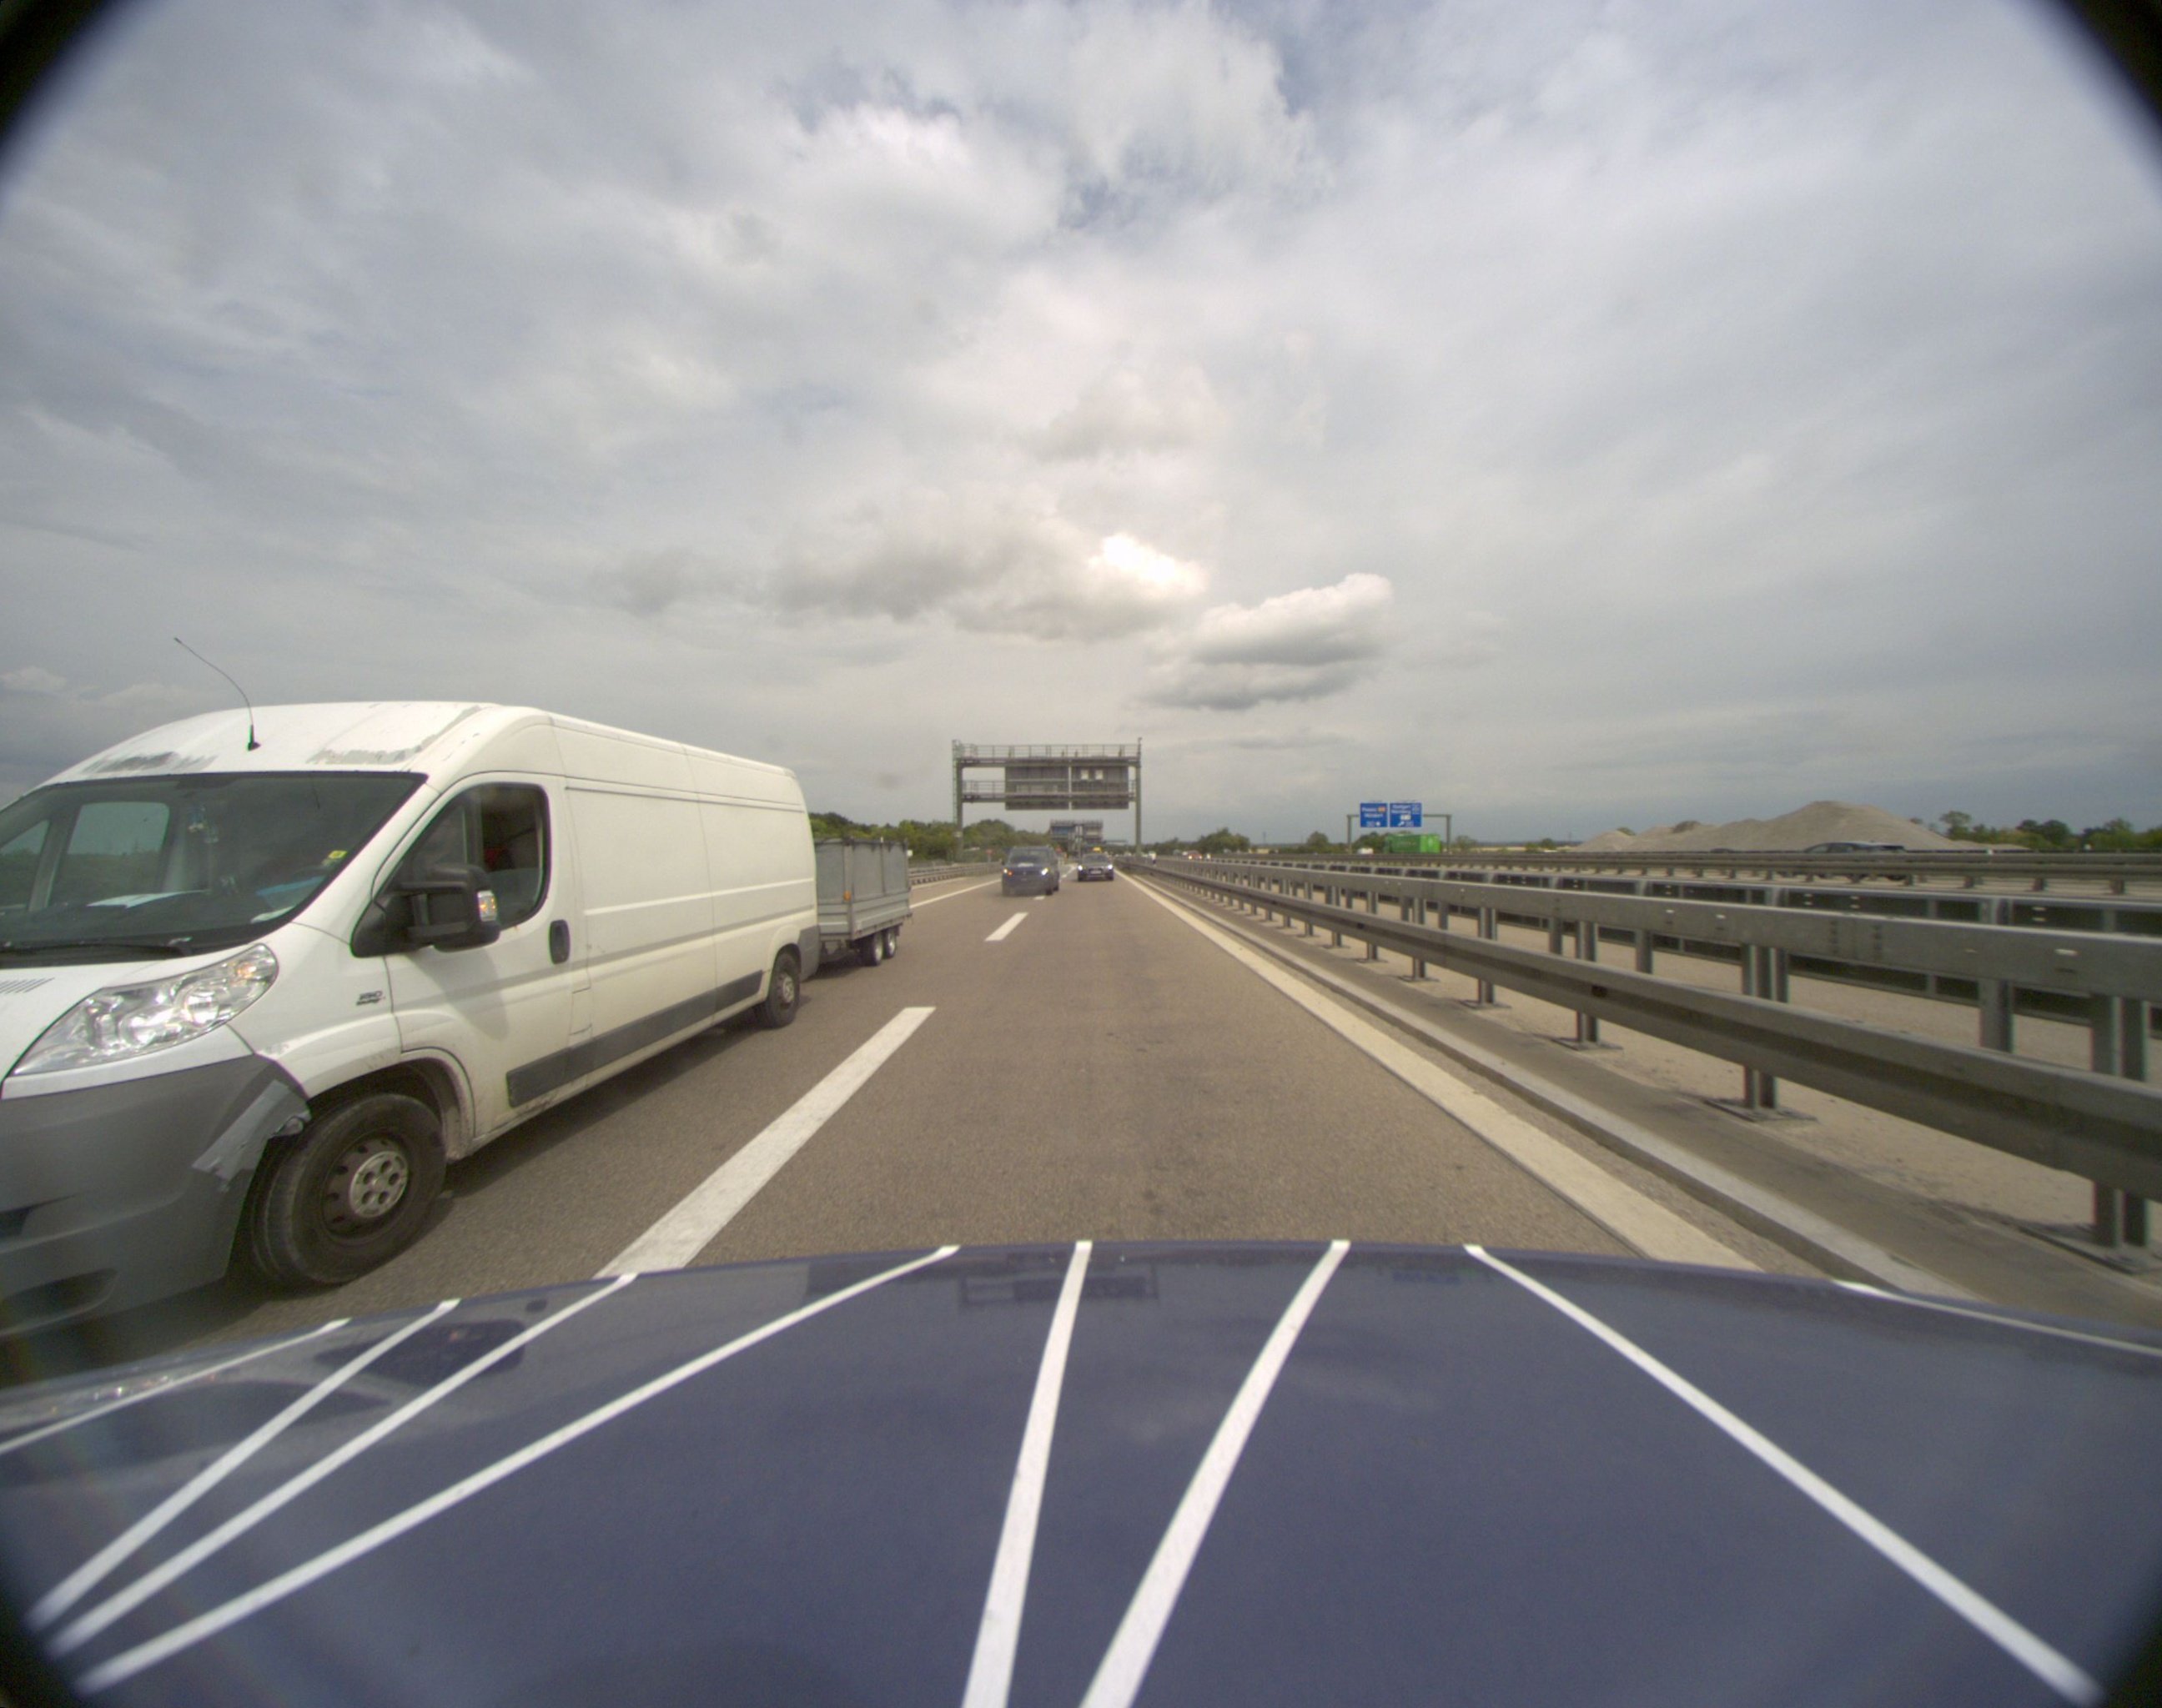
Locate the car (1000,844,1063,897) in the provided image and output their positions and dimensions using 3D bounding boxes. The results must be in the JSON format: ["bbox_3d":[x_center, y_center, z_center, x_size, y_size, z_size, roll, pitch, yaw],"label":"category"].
[{"bbox_3d":[-1.797,0.579,28.675,1.998,1.783,4.000,-2,0,1],"label":"car"}]

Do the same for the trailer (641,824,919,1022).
[{"bbox_3d":[-3.652,0.715,10.286,1.859,2.002,4.631,-2,0,0],"label":"trailer"}]

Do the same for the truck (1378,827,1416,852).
[{"bbox_3d":[46.710,-2.086,112.429,3.049,3.588,5.894,-2,1,0],"label":"truck"}]

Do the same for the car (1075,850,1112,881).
[{"bbox_3d":[0.636,0.538,38.509,1.747,1.381,3.999,-2,1,1],"label":"car"}]

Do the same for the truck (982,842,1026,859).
[{"bbox_3d":[-19.632,-0.879,195.159,11.815,3.836,2.839,-3,1,-43],"label":"truck"}]

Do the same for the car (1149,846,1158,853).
[{"bbox_3d":[20.863,-1.353,218.317,1.998,2.002,4.465,-2,0,1],"label":"car"}]

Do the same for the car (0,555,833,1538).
[{"bbox_3d":[-3.733,0.488,4.887,2.119,2.439,6.151,-2,0,0],"label":"car"}]

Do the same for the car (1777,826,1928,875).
[{"bbox_3d":[30.752,-0.147,30.474,1.998,1.778,4.000,-2,0,1],"label":"car"}]

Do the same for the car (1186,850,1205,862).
[{"bbox_3d":[15.534,0.240,103.299,1.824,1.537,4.354,-2,0,-1],"label":"car"}]

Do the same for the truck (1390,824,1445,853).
[{"bbox_3d":[46.630,-2.084,105.702,3.021,3.614,10.436,-2,0,0],"label":"truck"}]

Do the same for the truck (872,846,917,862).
[{"bbox_3d":[-44.086,-0.061,179.937,9.886,3.383,2.690,-2,1,-23],"label":"truck"}]

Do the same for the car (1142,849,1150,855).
[{"bbox_3d":[21.002,-0.545,245.891,1.999,1.871,3.999,-2,0,-1],"label":"car"}]

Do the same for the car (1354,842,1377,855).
[{"bbox_3d":[52.470,-1.034,140.244,2.201,2.210,5.517,-2,0,1],"label":"car"}]

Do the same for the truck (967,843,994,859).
[{"bbox_3d":[-25.183,-0.647,190.008,5.939,3.780,2.894,-2,0,-43],"label":"truck"}]
